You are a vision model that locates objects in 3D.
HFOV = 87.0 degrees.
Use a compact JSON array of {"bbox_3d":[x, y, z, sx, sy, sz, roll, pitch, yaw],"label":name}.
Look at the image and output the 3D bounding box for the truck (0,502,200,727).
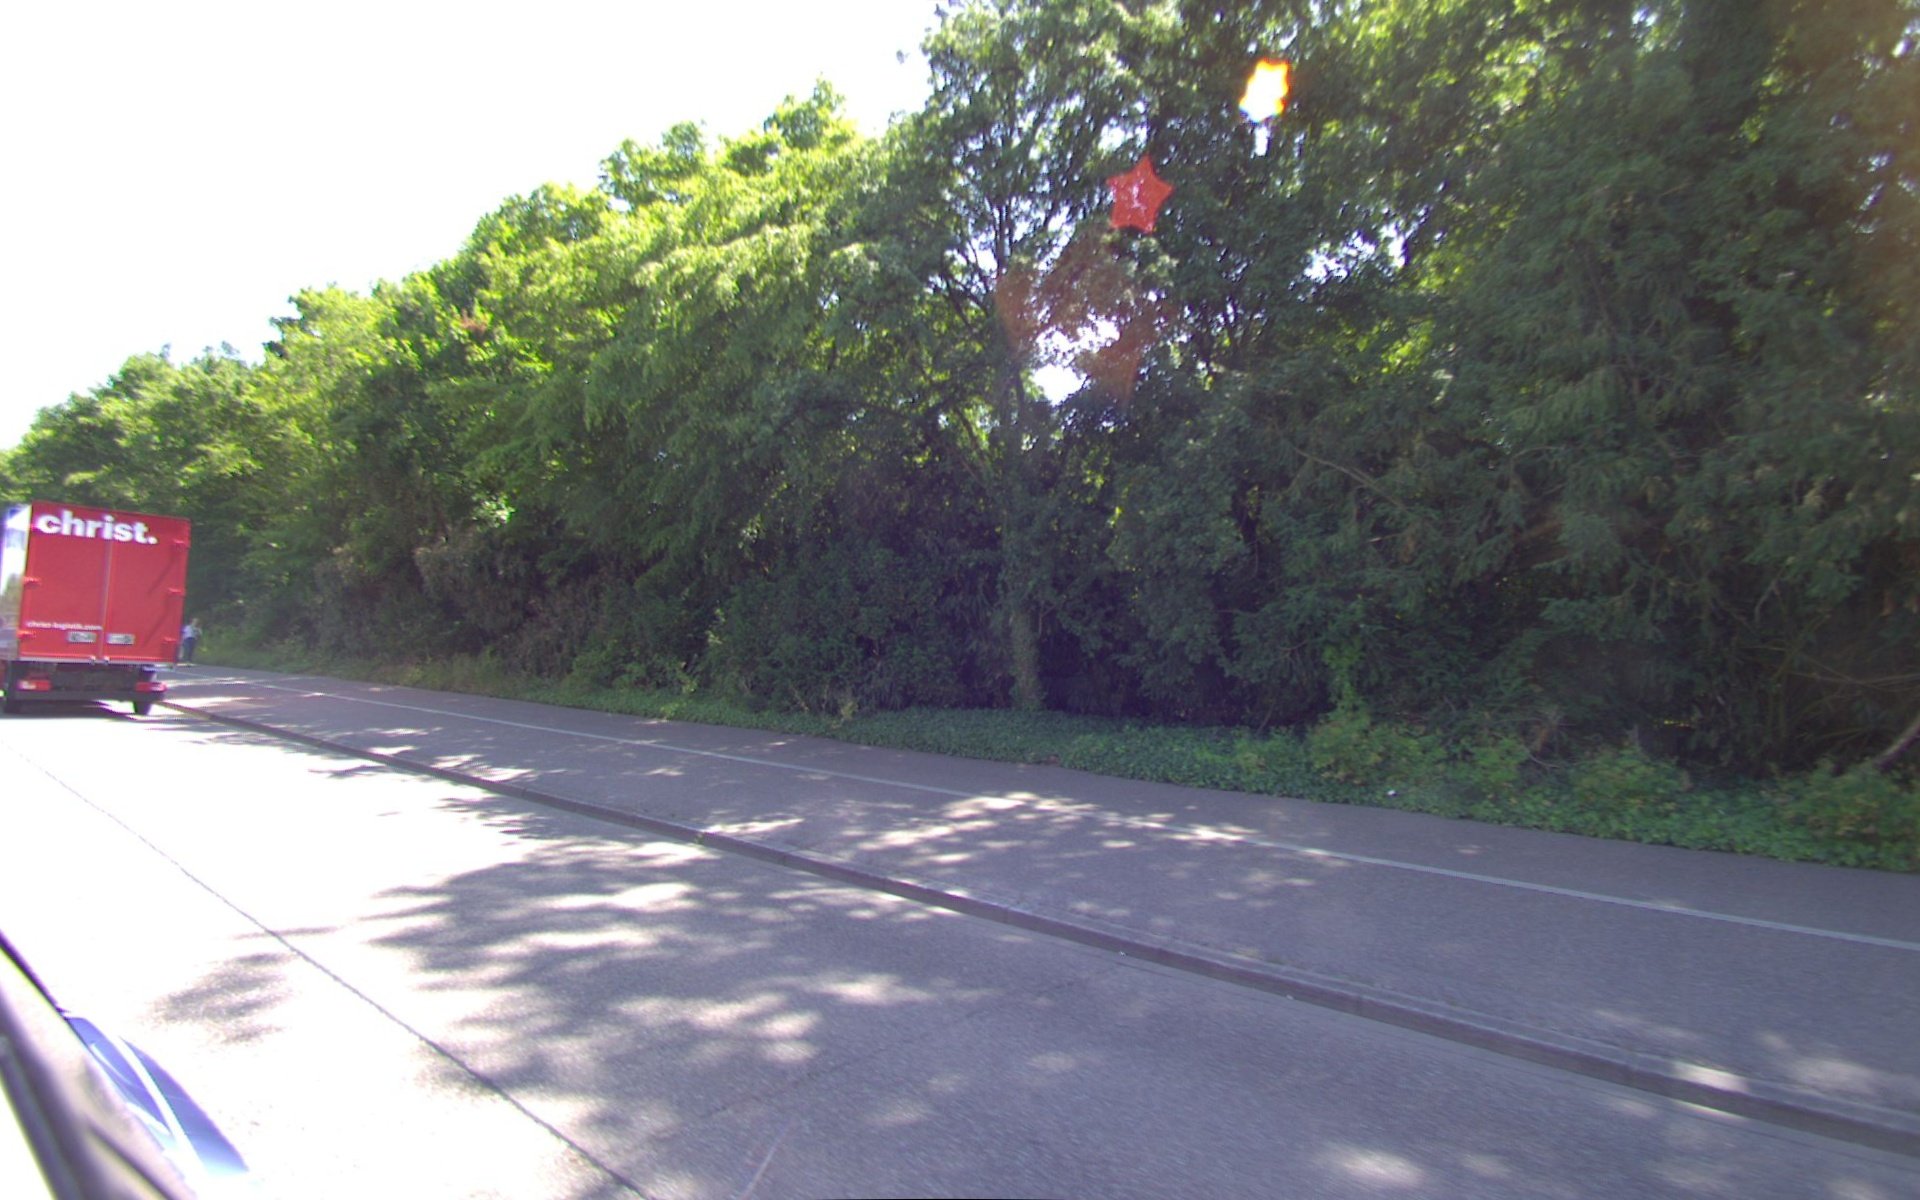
[{"bbox_3d":[-16.541,0.387,18.814,7.159,3.466,2.297,-2,-6,42],"label":"truck"}]
